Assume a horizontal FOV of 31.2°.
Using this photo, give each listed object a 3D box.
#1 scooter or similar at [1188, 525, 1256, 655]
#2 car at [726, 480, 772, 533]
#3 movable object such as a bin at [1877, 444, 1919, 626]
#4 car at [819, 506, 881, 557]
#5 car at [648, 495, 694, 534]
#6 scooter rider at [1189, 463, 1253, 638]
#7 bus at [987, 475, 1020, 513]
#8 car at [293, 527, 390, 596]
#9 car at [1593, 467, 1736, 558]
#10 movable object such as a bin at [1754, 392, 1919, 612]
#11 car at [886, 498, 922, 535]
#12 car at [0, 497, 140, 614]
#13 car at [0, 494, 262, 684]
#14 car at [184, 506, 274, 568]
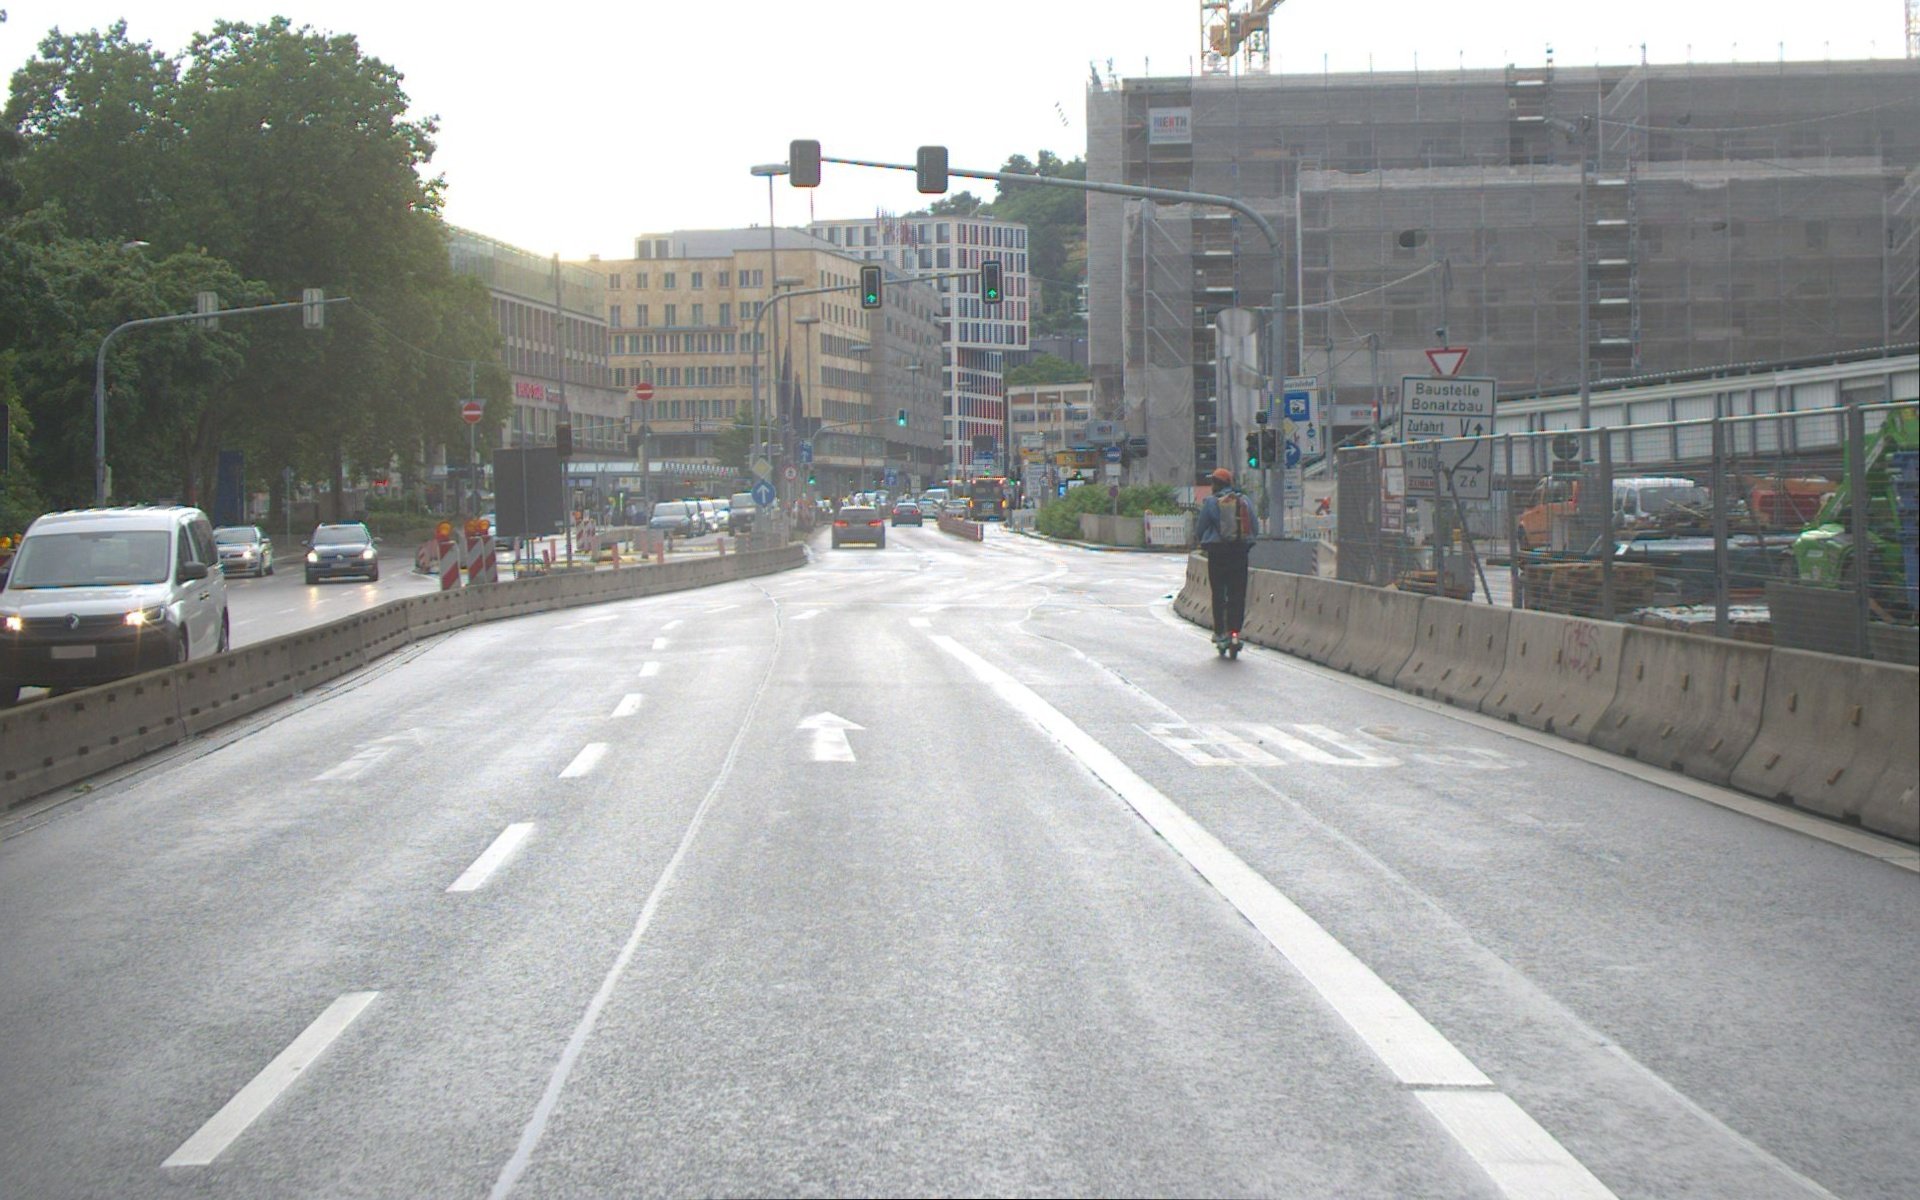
[{"bbox_3d":[2.697,-0.119,35.517,0.597,1.314,1.667,0,1,1],"label":"scooter or similar"},{"bbox_3d":[-9.335,-4.115,152.164,1.902,2.075,4.177,-2,-1,-4],"label":"car"},{"bbox_3d":[12.194,-0.804,41.934,1.456,2.195,1.265,-1,3,-25],"label":"movable object such as a bin"},{"bbox_3d":[-3.772,-2.325,117.109,1.902,1.523,4.177,-3,-1,-4],"label":"car"},{"bbox_3d":[-12.764,-3.765,151.956,1.902,1.523,4.177,-3,-1,-4],"label":"car"},{"bbox_3d":[2.690,-0.516,35.489,0.597,1.779,0.997,0,1,1],"label":"scooter rider"},{"bbox_3d":[3.130,-7.572,245.553,1.994,2.423,3.999,-3,-1,4],"label":"bus"},{"bbox_3d":[-15.504,-0.939,86.415,1.993,1.536,4.581,-2,-1,-6],"label":"car"},{"bbox_3d":[14.989,-1.899,73.409,1.846,1.800,5.087,0,3,-2],"label":"car"},{"bbox_3d":[12.129,-1.348,45.814,1.806,2.799,3.867,-1,3,-7],"label":"movable object such as a bin"},{"bbox_3d":[-3.299,-4.933,203.301,1.993,2.007,4.000,-3,-1,0],"label":"car"},{"bbox_3d":[-14.512,-0.694,55.512,1.875,1.700,4.000,-2,-1,-6],"label":"car"},{"bbox_3d":[-8.289,-0.116,33.579,2.030,1.647,4.912,-3,1,-2],"label":"car"},{"bbox_3d":[-20.899,-1.779,98.455,1.993,1.536,4.446,-2,-1,-6],"label":"car"}]
